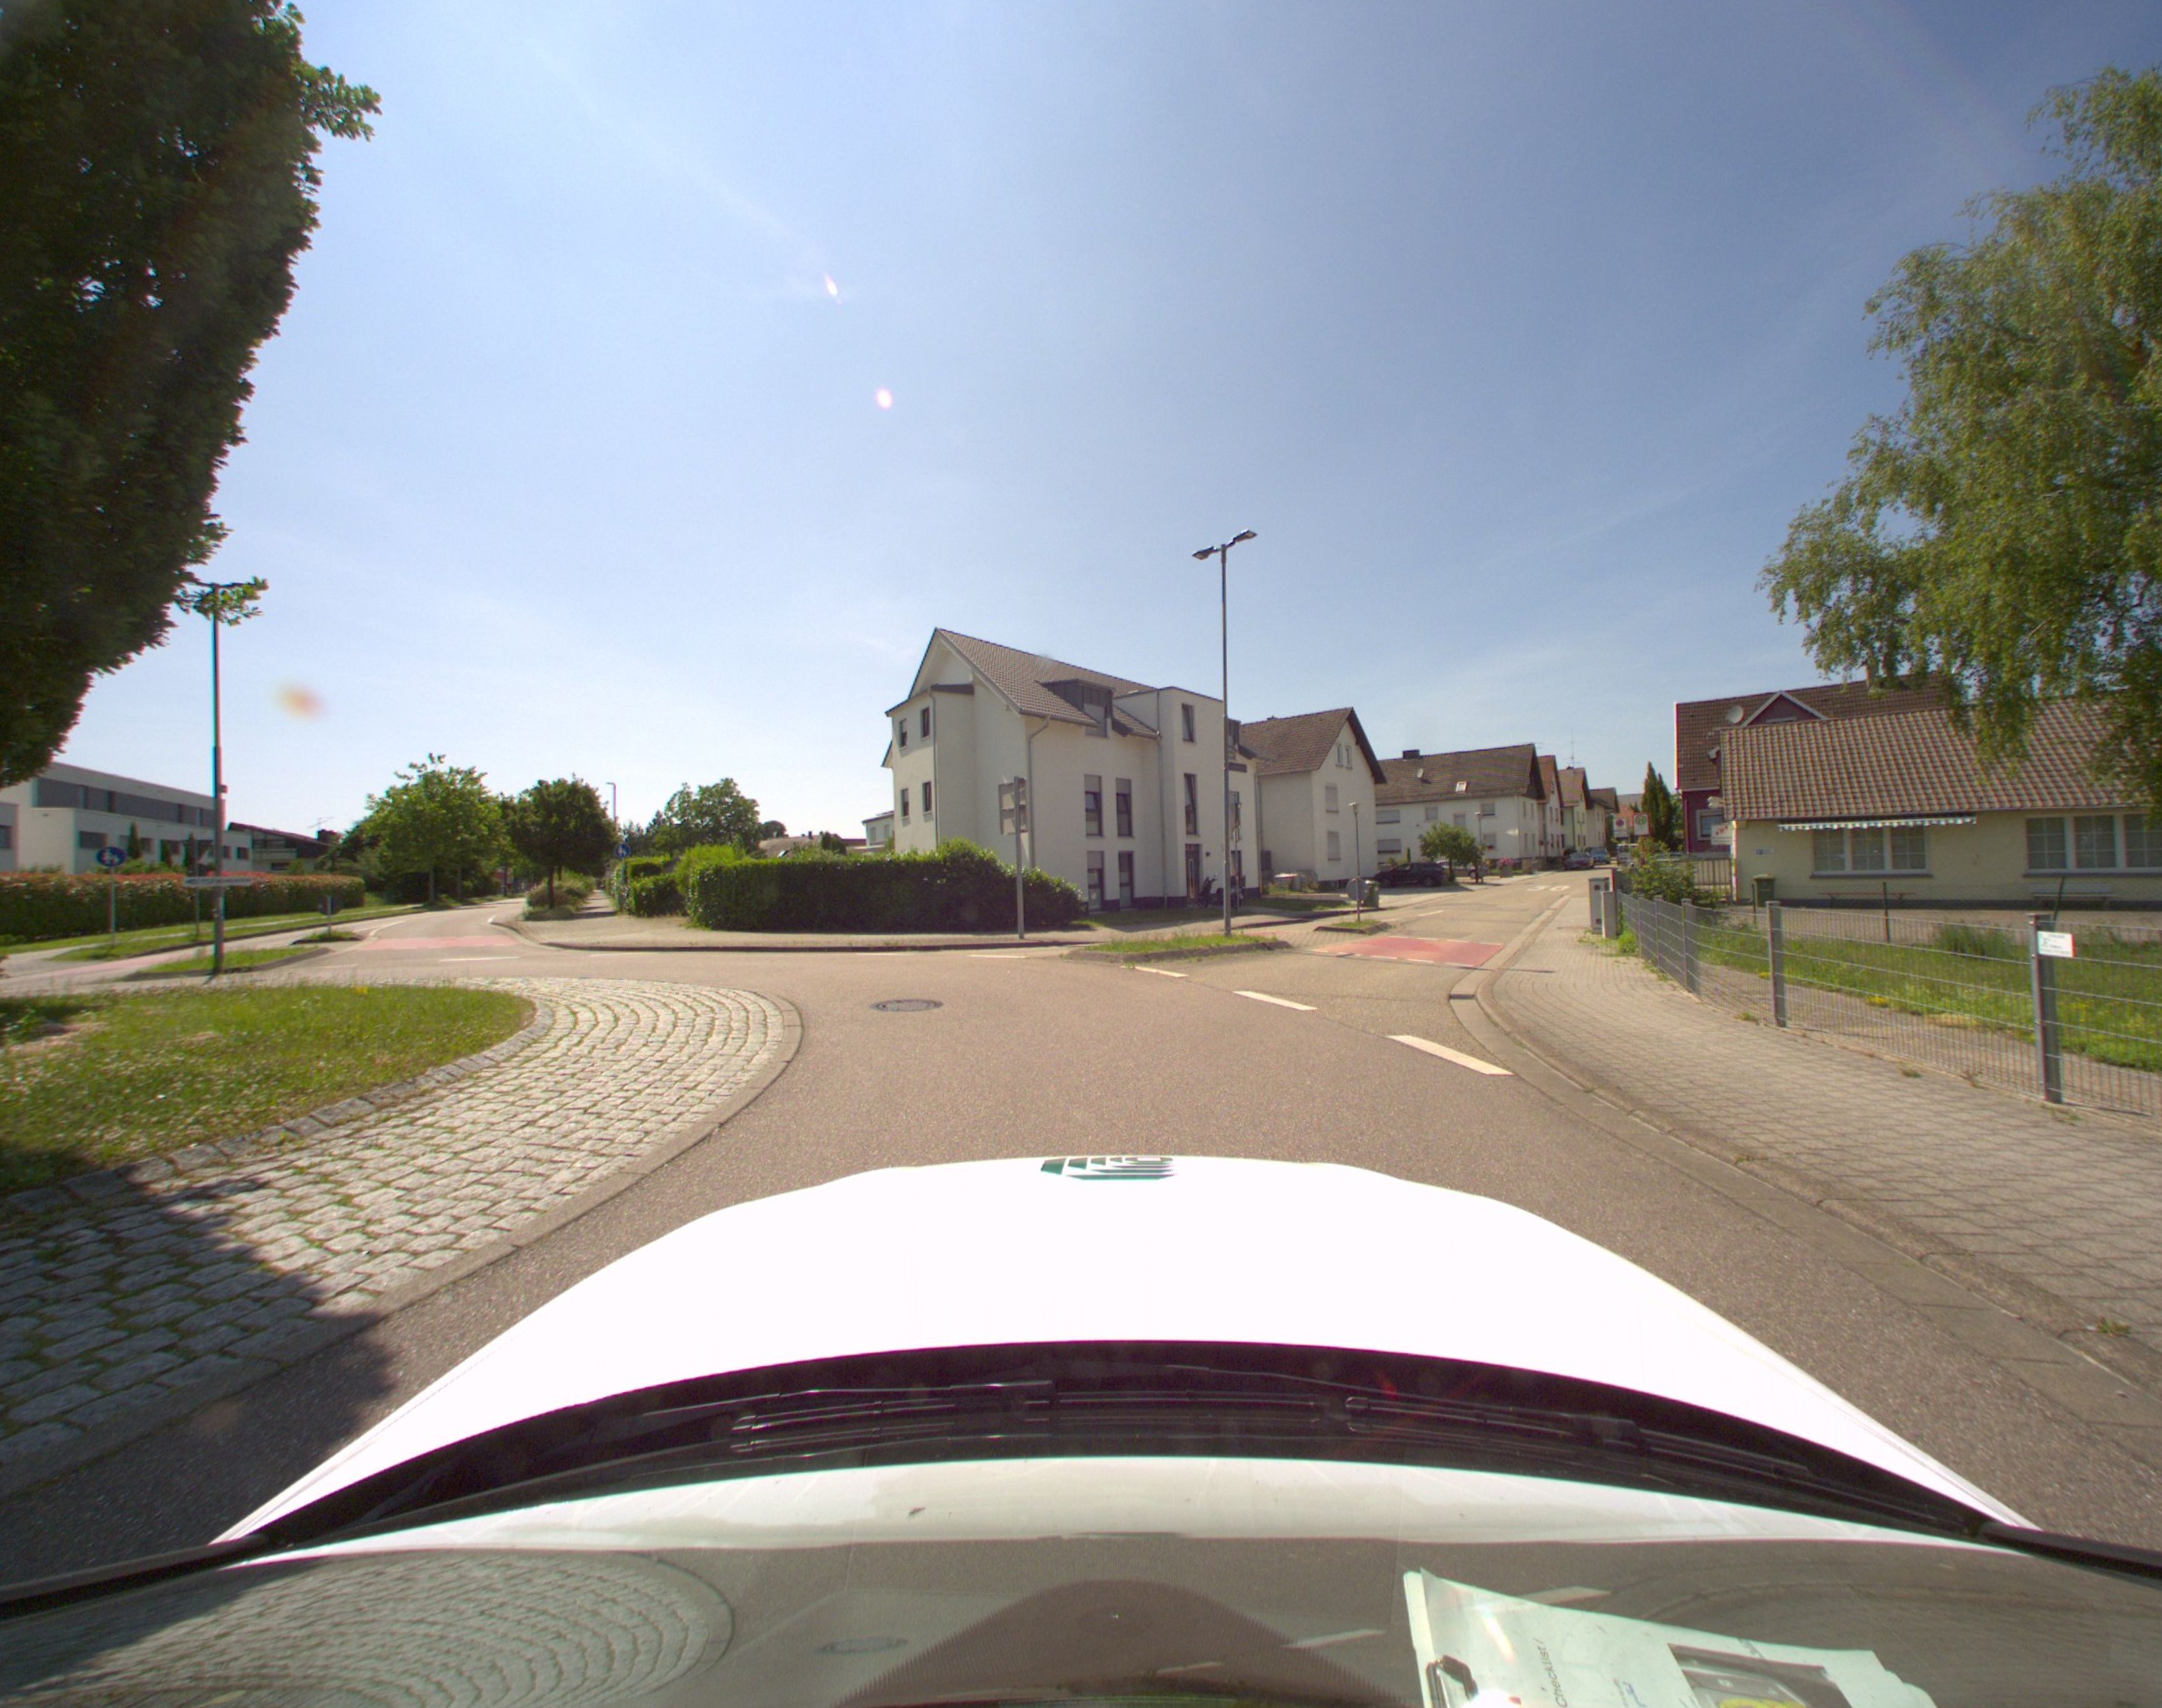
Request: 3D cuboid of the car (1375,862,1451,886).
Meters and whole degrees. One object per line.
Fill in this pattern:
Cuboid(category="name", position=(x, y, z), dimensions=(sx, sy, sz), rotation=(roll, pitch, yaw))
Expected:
Cuboid(category="car", position=(20.062, 1.220, 49.224), dimensions=(3.948, 1.383, 1.671), rotation=(-2, -2, 36))

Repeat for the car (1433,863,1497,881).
Cuboid(category="car", position=(28.030, 1.307, 59.516), dimensions=(3.948, 1.190, 1.852), rotation=(-2, -1, 36))

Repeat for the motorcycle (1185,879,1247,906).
Cuboid(category="motorcycle", position=(5.129, 1.464, 31.049), dimensions=(2.338, 1.014, 0.676), rotation=(-3, -4, 42))

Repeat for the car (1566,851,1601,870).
Cuboid(category="car", position=(42.777, 0.550, 69.324), dimensions=(1.974, 1.553, 4.025), rotation=(-2, -1, 39))

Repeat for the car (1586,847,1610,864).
Cuboid(category="car", position=(51.518, 0.122, 81.141), dimensions=(1.905, 1.604, 4.025), rotation=(-2, -2, 33))

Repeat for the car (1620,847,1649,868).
Cuboid(category="car", position=(49.512, 0.335, 72.832), dimensions=(1.833, 1.787, 4.025), rotation=(-3, -3, 38))

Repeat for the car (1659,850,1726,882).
Cuboid(category="car", position=(32.031, 0.661, 42.695), dimensions=(2.717, 1.598, 1.179), rotation=(-3, -3, 39))

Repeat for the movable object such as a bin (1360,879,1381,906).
Cuboid(category="movable object such as a bin", position=(11.826, 1.555, 33.295), dimensions=(0.461, 1.083, 0.639), rotation=(0, -2, -44))
